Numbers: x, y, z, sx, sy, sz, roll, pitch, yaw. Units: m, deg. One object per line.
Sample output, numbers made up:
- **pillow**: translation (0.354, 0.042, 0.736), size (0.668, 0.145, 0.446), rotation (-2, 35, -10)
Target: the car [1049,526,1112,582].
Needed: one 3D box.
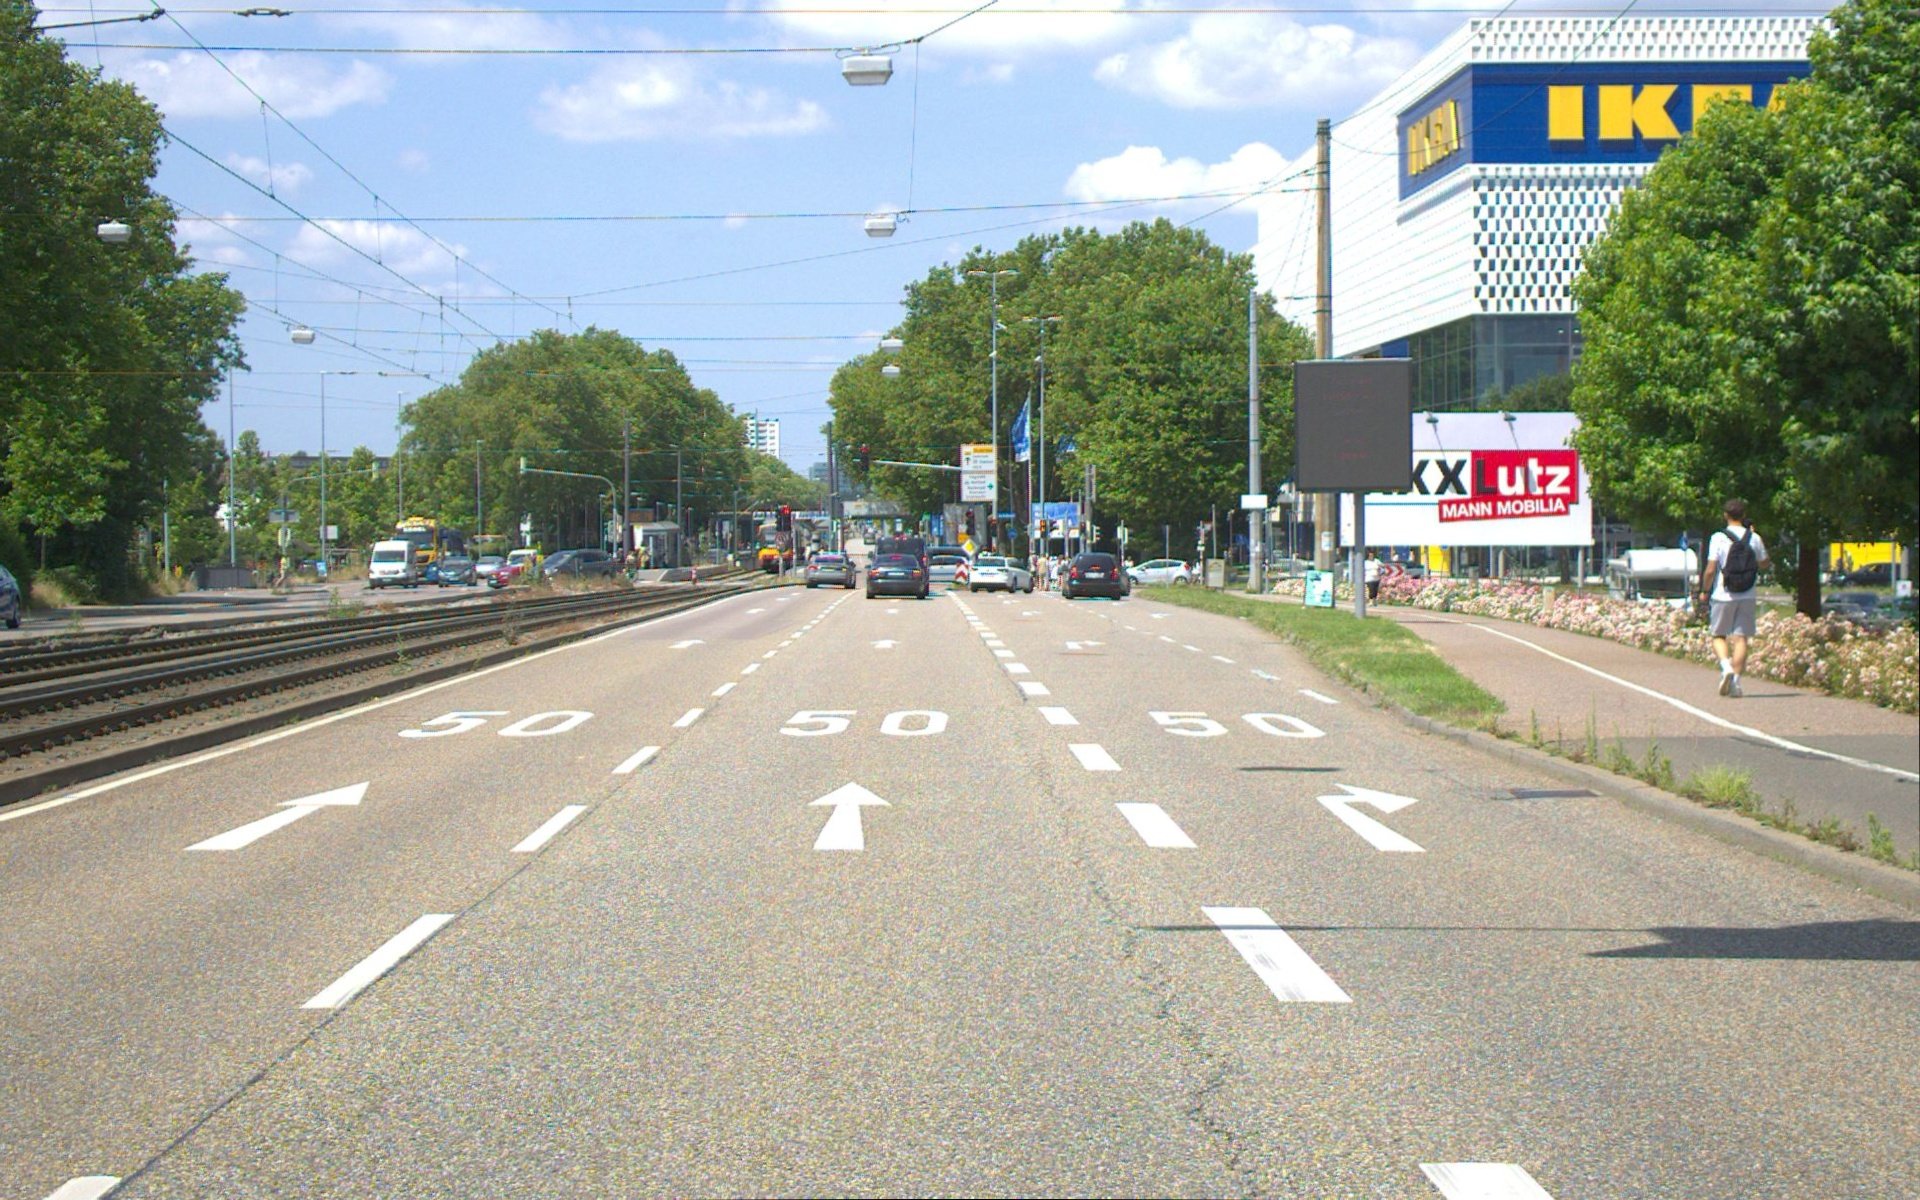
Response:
- **car**: translation (4.024, -1.562, 115.167), size (1.899, 1.799, 3.977), rotation (1, 1, 0)

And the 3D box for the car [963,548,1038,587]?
- **car**: translation (1.663, -1.335, 139.896), size (1.687, 1.544, 3.979), rotation (2, 1, 21)

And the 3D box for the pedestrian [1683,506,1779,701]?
- **pedestrian**: translation (7.183, 0.024, 32.047), size (0.669, 1.786, 0.924), rotation (1, 1, 1)

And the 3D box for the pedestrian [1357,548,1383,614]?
- **pedestrian**: translation (11.073, -0.516, 92.874), size (0.580, 1.786, 0.590), rotation (1, 1, -3)

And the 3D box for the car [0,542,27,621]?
- **car**: translation (-19.908, -0.374, 68.541), size (1.644, 1.545, 4.217), rotation (1, 1, -3)

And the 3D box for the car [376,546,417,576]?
- **car**: translation (-30.194, -2.122, 184.224), size (1.623, 1.544, 3.704), rotation (1, 1, -1)

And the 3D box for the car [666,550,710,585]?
- **car**: translation (-12.544, -1.521, 158.732), size (1.842, 1.544, 3.777), rotation (1, 1, -2)

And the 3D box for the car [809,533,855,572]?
- **car**: translation (-5.284, -1.966, 141.557), size (1.842, 1.544, 3.777), rotation (1, 1, -2)

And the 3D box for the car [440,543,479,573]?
- **car**: translation (-26.936, -2.265, 184.978), size (1.623, 1.544, 3.704), rotation (1, 1, -1)

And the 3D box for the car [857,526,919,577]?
- **car**: translation (-2.284, -1.545, 108.590), size (1.876, 1.534, 3.777), rotation (1, 1, -2)
